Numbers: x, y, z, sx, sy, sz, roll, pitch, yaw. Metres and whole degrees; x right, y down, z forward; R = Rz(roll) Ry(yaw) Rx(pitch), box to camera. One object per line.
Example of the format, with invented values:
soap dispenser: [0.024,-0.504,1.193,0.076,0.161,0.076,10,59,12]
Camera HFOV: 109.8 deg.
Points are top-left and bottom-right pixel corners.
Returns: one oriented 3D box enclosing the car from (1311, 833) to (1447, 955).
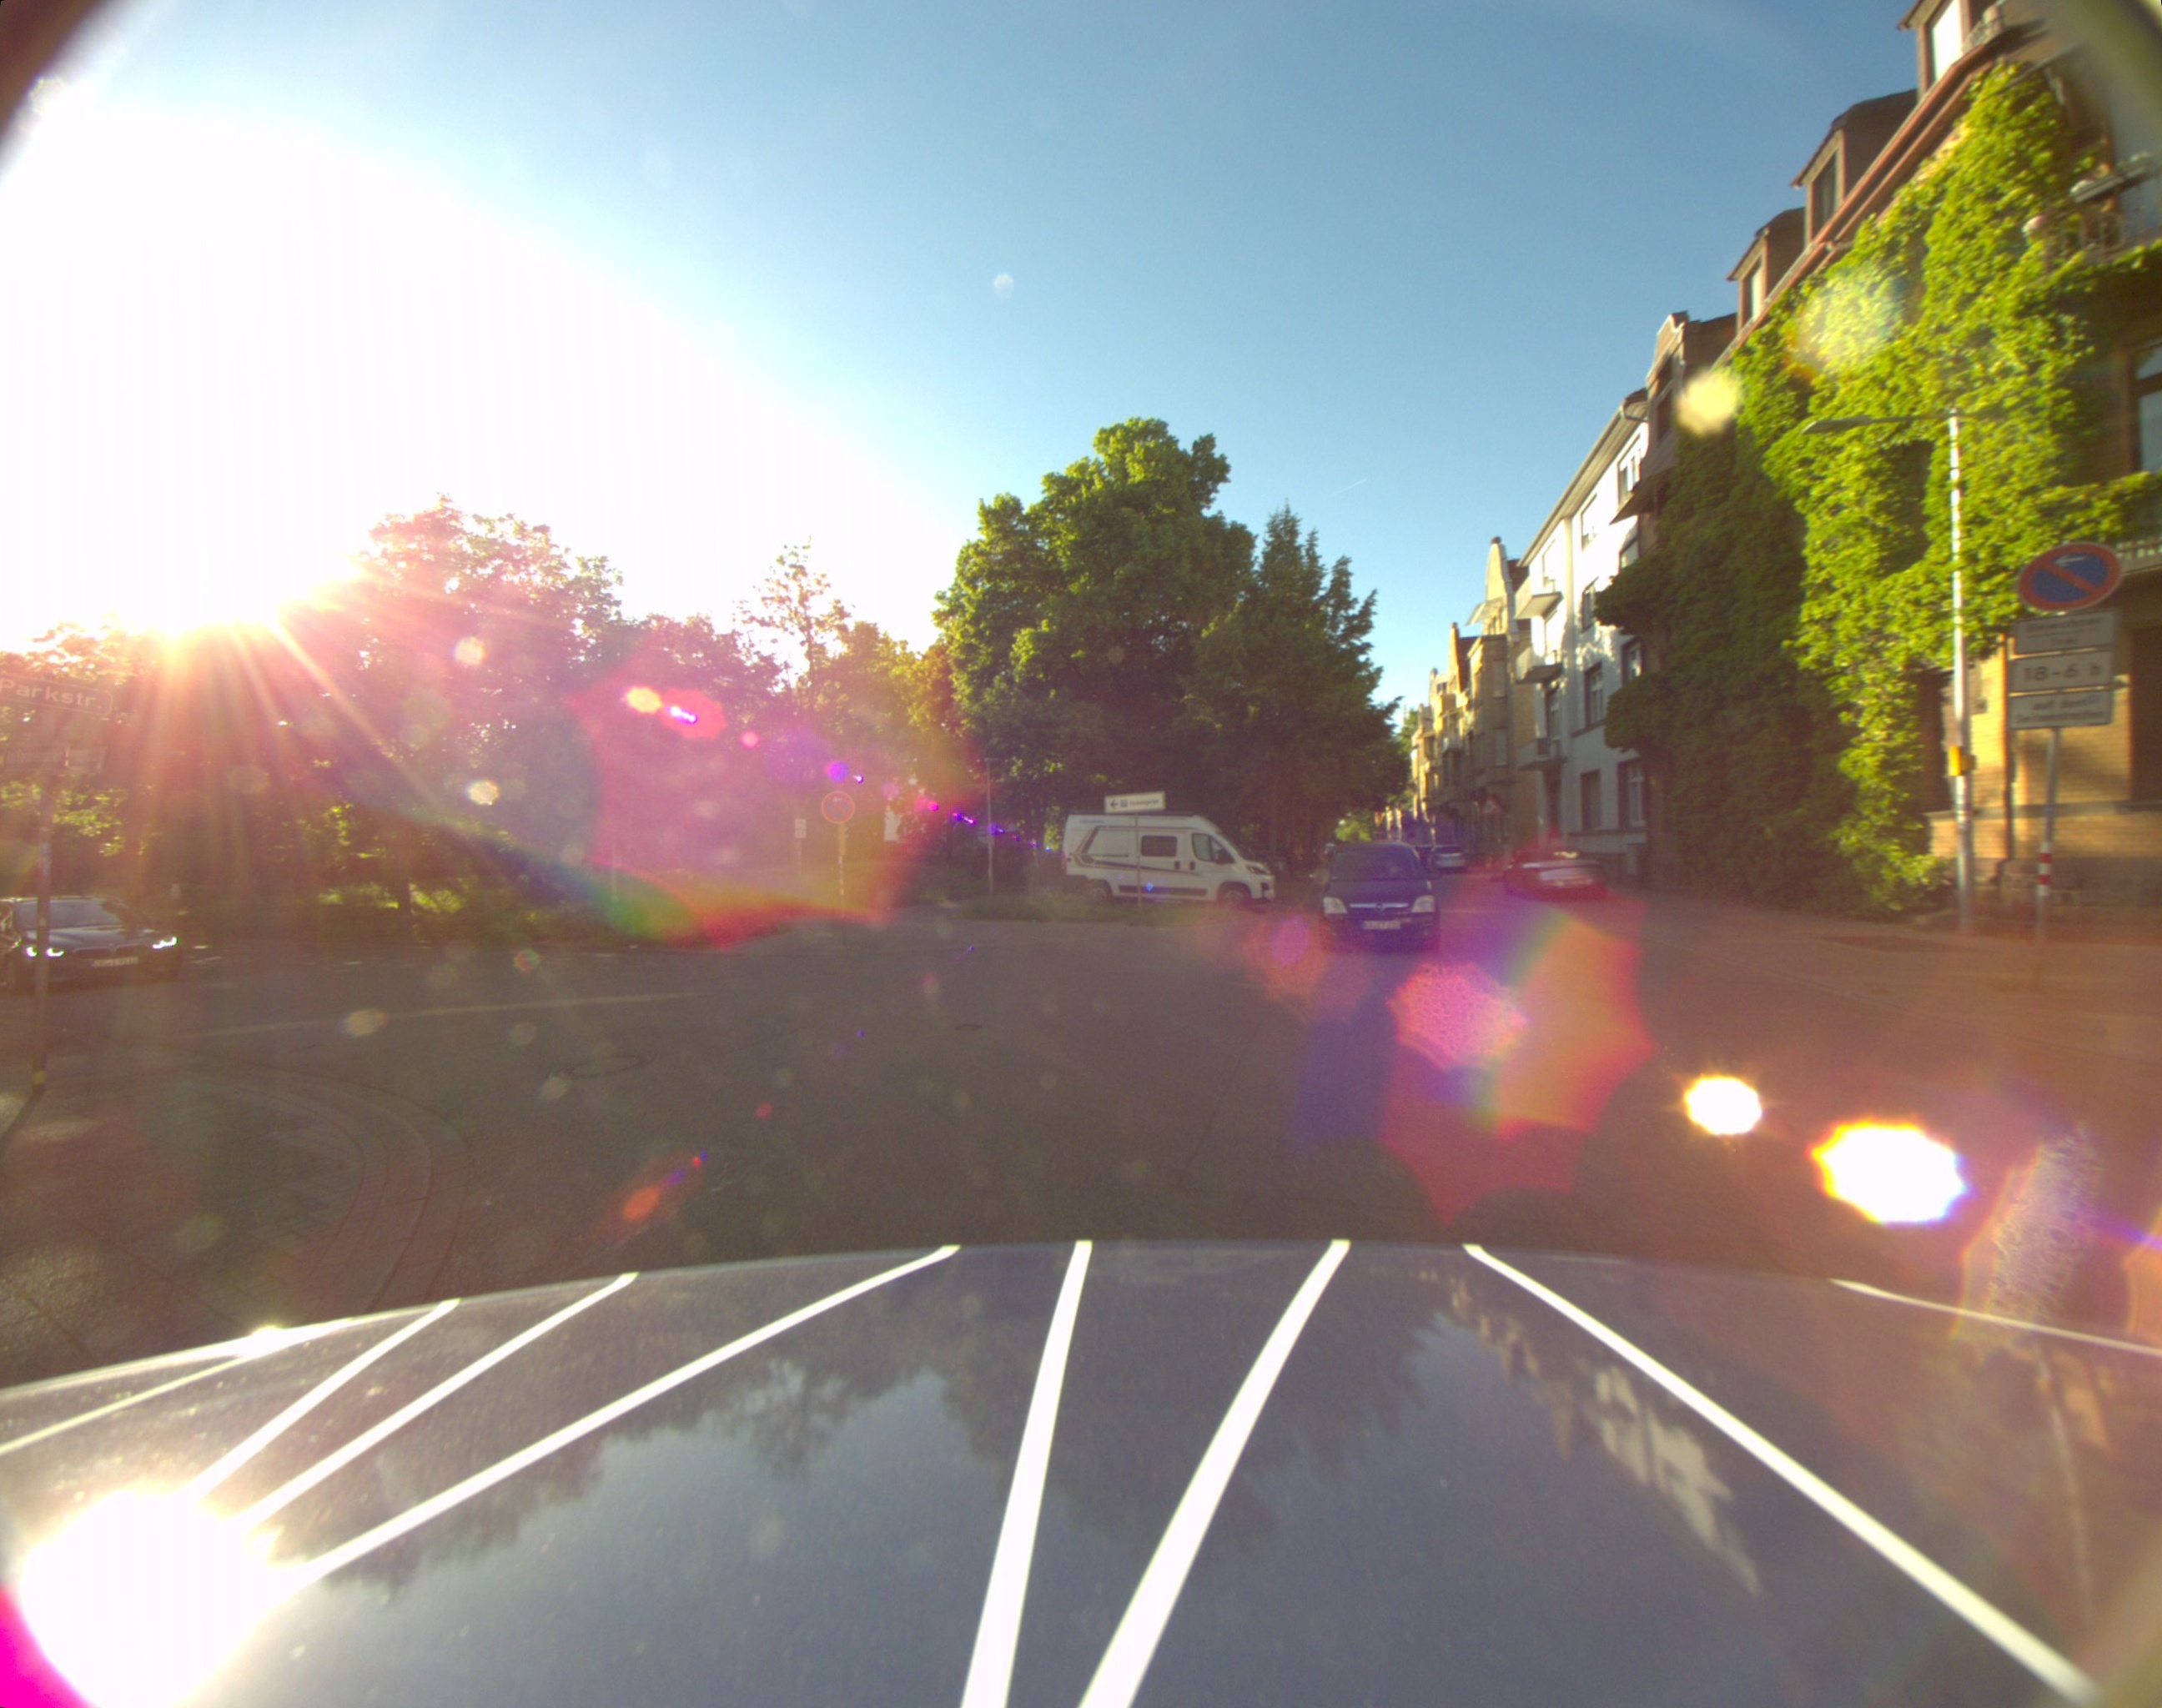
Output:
car: [4.606,0.543,12.175,1.646,1.581,4.025,-3,0,18]

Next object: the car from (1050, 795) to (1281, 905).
car: [2.251,-0.075,19.948,5.620,2.599,2.241,-2,2,17]

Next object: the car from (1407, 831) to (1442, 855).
car: [25.116,-0.825,55.593,1.996,1.616,4.148,-1,2,20]

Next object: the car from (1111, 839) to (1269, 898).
car: [3.247,0.428,22.434,4.291,1.566,1.981,-2,2,17]

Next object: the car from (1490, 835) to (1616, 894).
car: [13.210,0.246,21.621,1.879,1.396,4.932,-3,0,18]

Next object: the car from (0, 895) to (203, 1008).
car: [-18.293,1.631,13.720,4.607,1.613,1.893,-1,2,25]

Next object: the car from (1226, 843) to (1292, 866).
car: [11.152,0.032,47.649,3.873,1.249,1.787,-2,2,17]

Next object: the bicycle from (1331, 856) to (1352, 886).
bicycle: [9.134,0.577,26.686,0.613,0.969,2.072,-1,0,18]

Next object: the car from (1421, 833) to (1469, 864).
car: [20.007,-0.330,41.891,1.864,1.538,3.797,-1,2,18]

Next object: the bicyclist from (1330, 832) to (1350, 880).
bicyclist: [9.162,0.064,26.886,0.595,1.646,0.711,-1,2,18]

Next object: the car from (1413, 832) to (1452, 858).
car: [23.065,-0.625,49.969,1.996,1.616,4.148,-1,2,20]
